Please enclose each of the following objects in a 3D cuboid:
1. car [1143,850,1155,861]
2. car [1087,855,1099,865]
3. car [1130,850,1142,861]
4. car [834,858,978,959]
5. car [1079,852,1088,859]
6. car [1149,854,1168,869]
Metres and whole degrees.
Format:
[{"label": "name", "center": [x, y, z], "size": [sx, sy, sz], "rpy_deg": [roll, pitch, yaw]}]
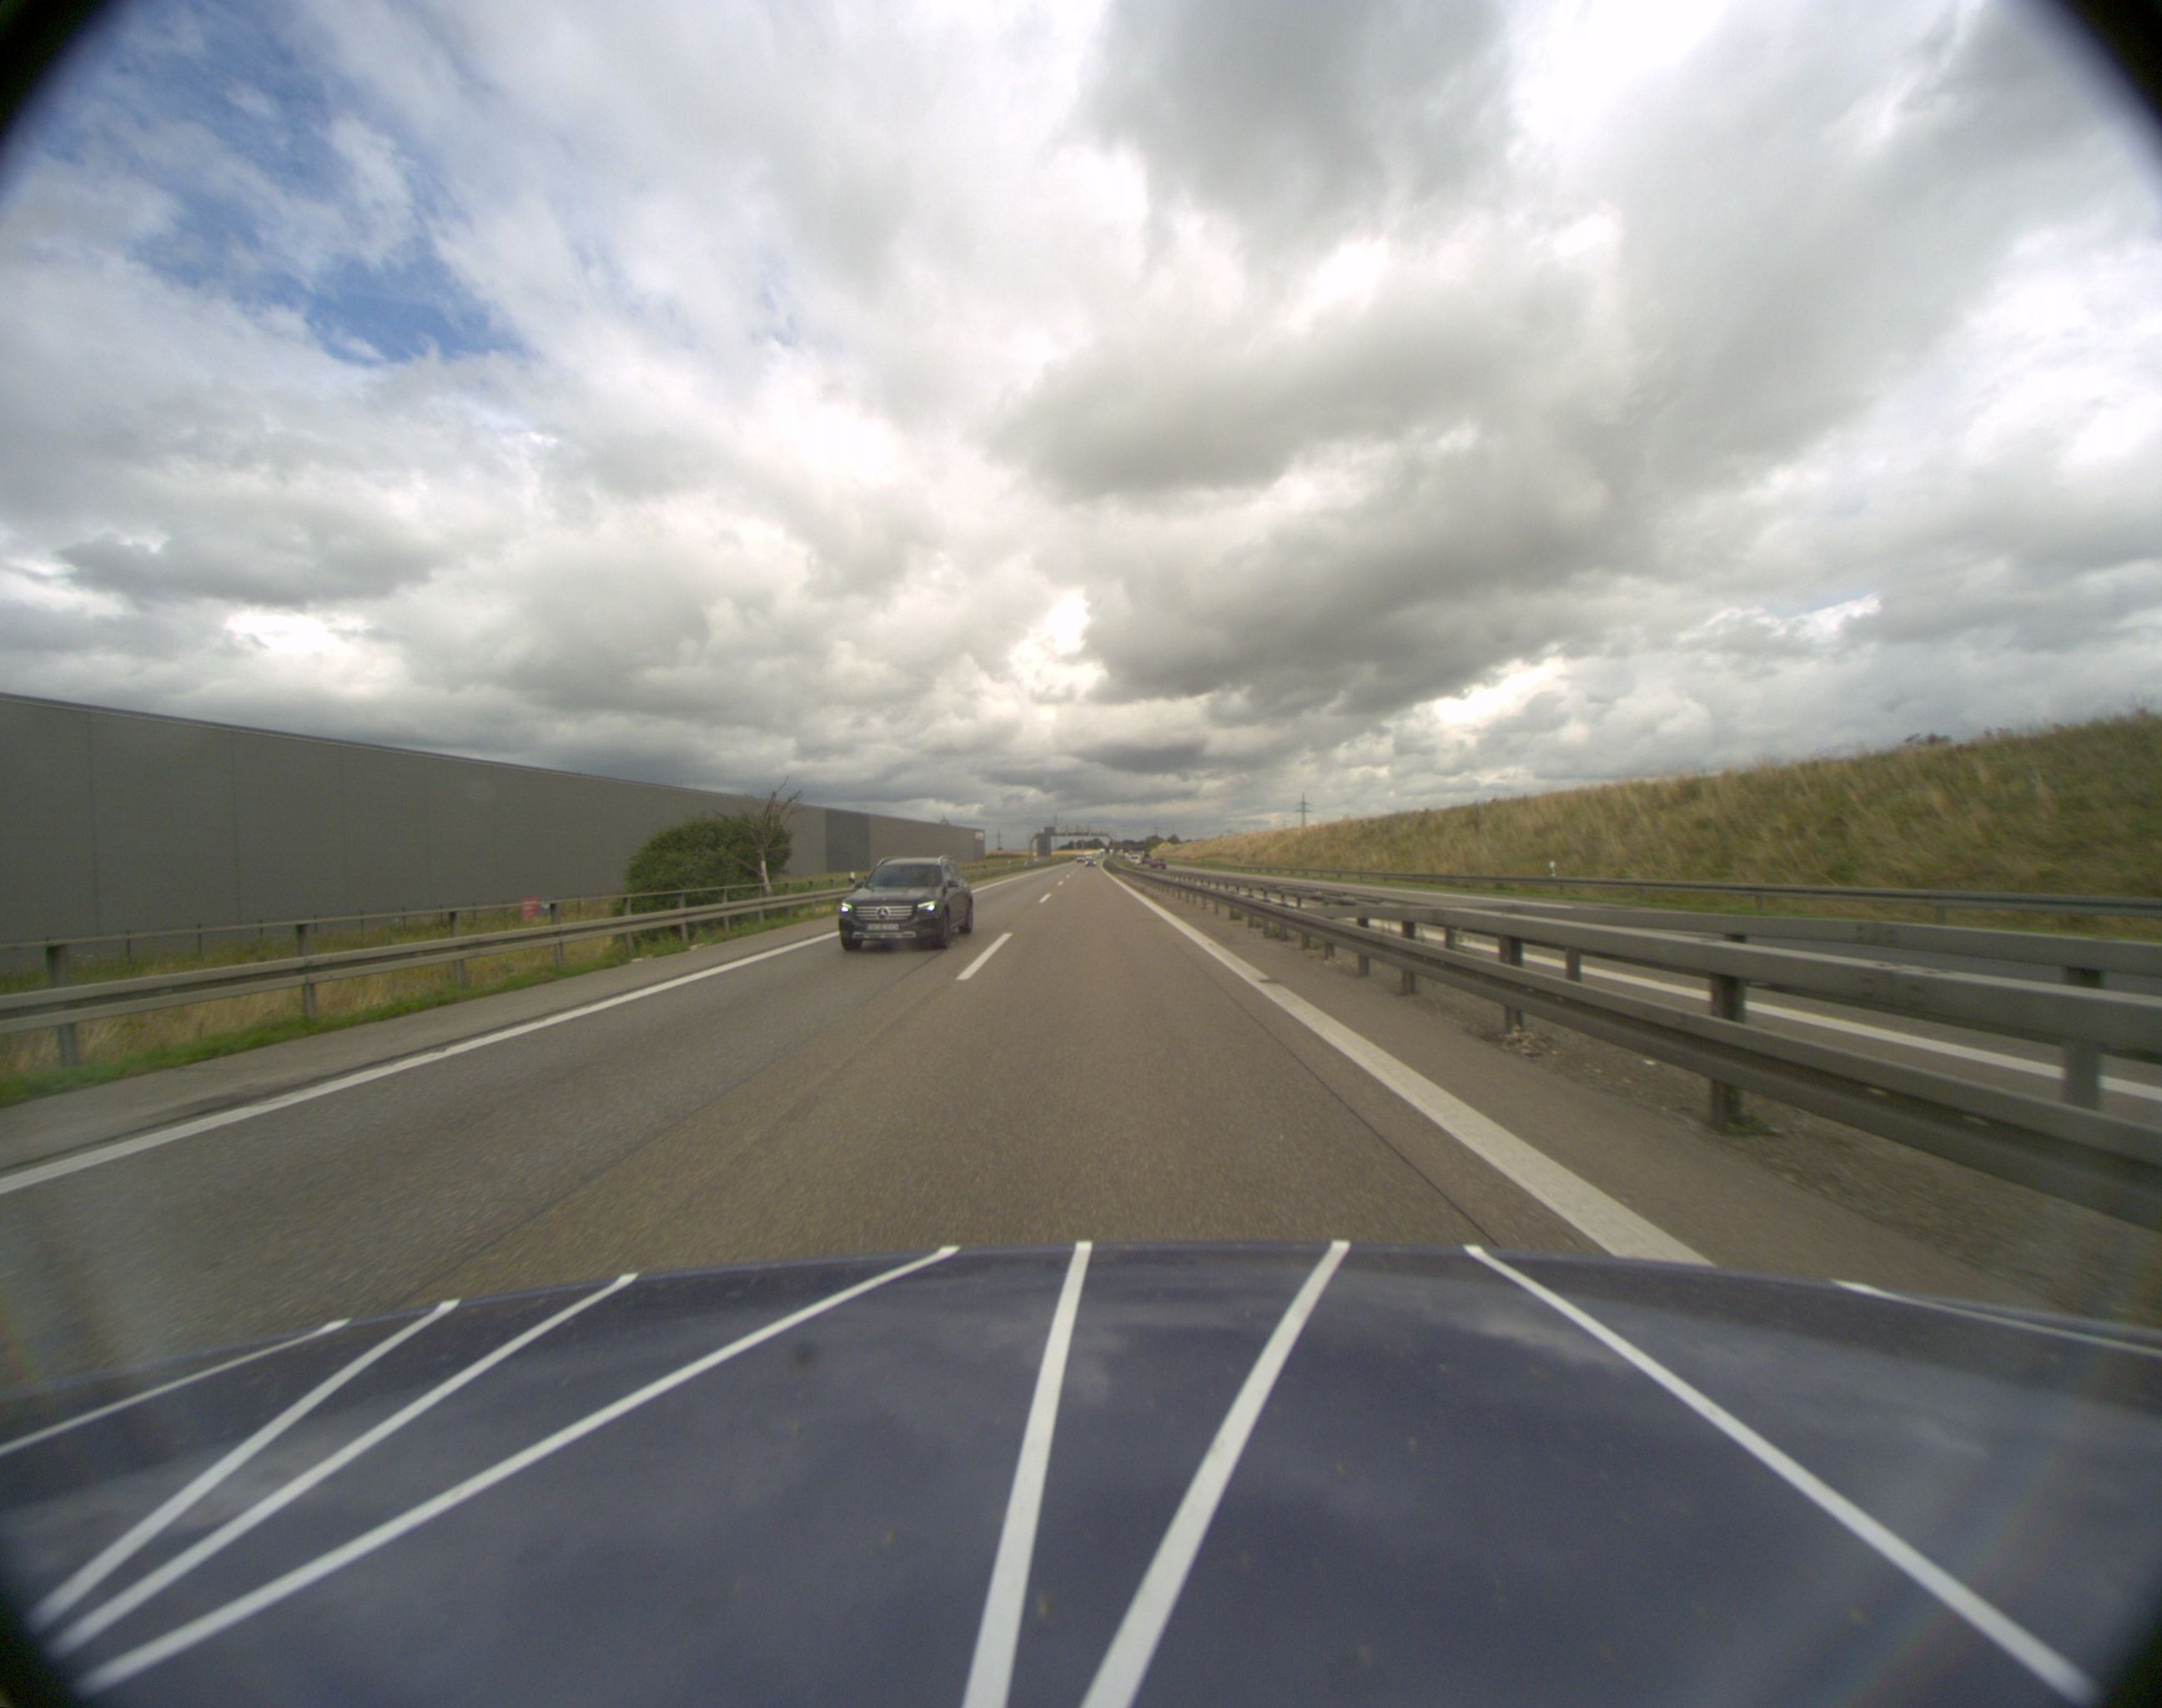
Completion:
[{"label": "car", "center": [13.545, 0.272, 151.533], "size": [1.998, 2.229, 5.718], "rpy_deg": [-1, 1, 1]}, {"label": "car", "center": [2.002, 1.070, 131.703], "size": [1.998, 1.695, 4.662], "rpy_deg": [-2, -1, 1]}, {"label": "car", "center": [9.812, 0.257, 135.908], "size": [1.832, 1.874, 5.418], "rpy_deg": [-1, 1, 1]}, {"label": "car", "center": [-3.248, 0.935, 15.005], "size": [1.838, 1.600, 4.359], "rpy_deg": [0, 1, 0]}, {"label": "car", "center": [0.748, 0.492, 202.355], "size": [1.998, 1.812, 4.343], "rpy_deg": [0, 1, 4]}, {"label": "car", "center": [9.076, 0.865, 88.853], "size": [1.846, 1.567, 3.999], "rpy_deg": [-1, 1, 1]}]
